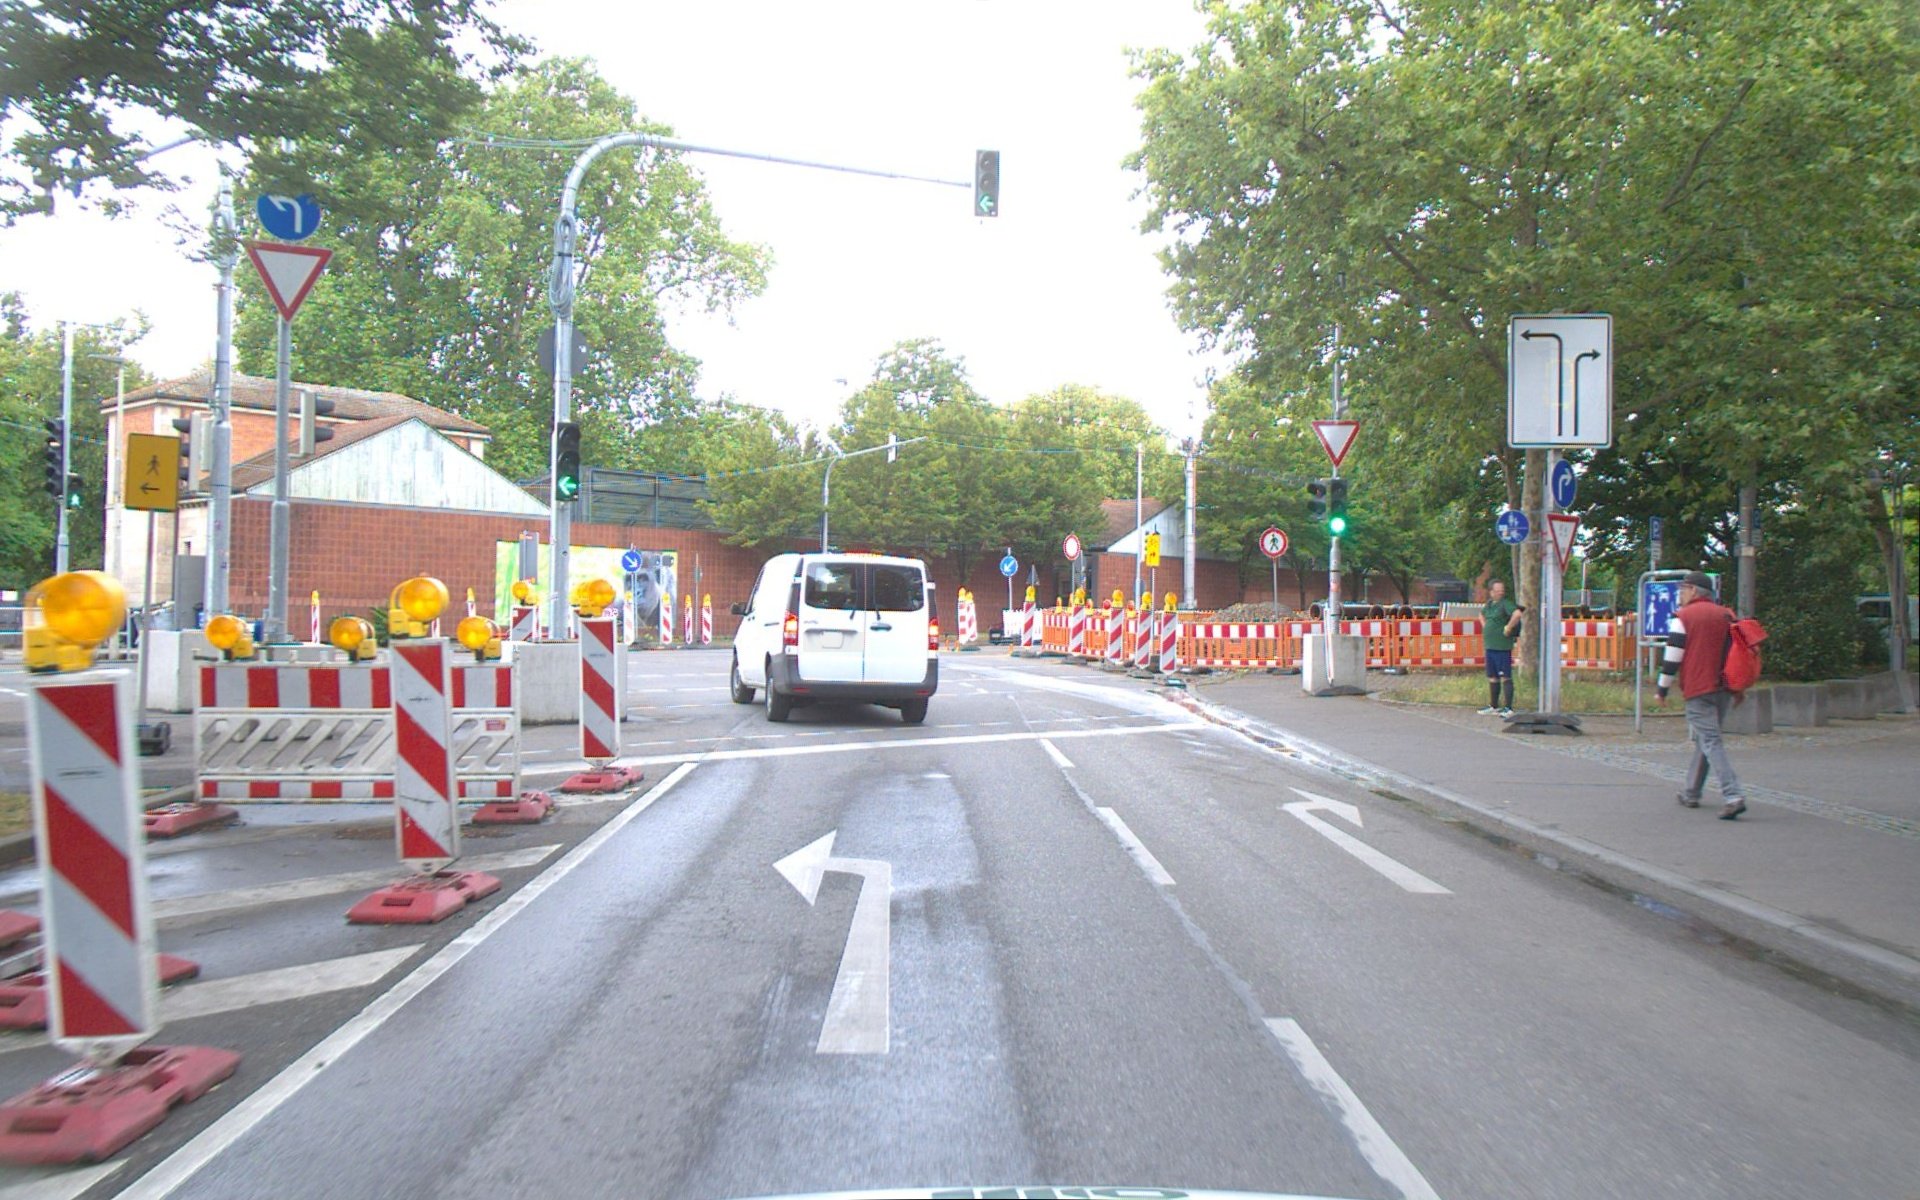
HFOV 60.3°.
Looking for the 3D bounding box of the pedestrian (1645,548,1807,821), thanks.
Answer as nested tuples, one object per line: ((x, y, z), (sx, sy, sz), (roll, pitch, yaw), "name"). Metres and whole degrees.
((5.436, 0.581, 11.774), (0.763, 1.863, 0.727), (-2, 0, -1), "pedestrian")

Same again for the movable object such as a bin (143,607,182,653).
((-23.897, 0.902, 49.562), (0.844, 1.364, 0.788), (1, -2, -43), "movable object such as a bin")

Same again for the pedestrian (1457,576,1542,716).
((6.871, 0.568, 21.090), (0.717, 1.727, 0.836), (-1, 0, -10), "pedestrian")

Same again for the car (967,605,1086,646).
((2.545, 0.993, 62.845), (4.413, 1.468, 1.854), (2, -3, -38), "car")

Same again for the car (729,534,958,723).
((-1.562, 0.383, 20.264), (1.885, 1.935, 4.683), (4, -3, -14), "car")

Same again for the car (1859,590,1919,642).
((29.083, 0.467, 48.633), (4.420, 1.497, 1.712), (-1, -1, 38), "car")
